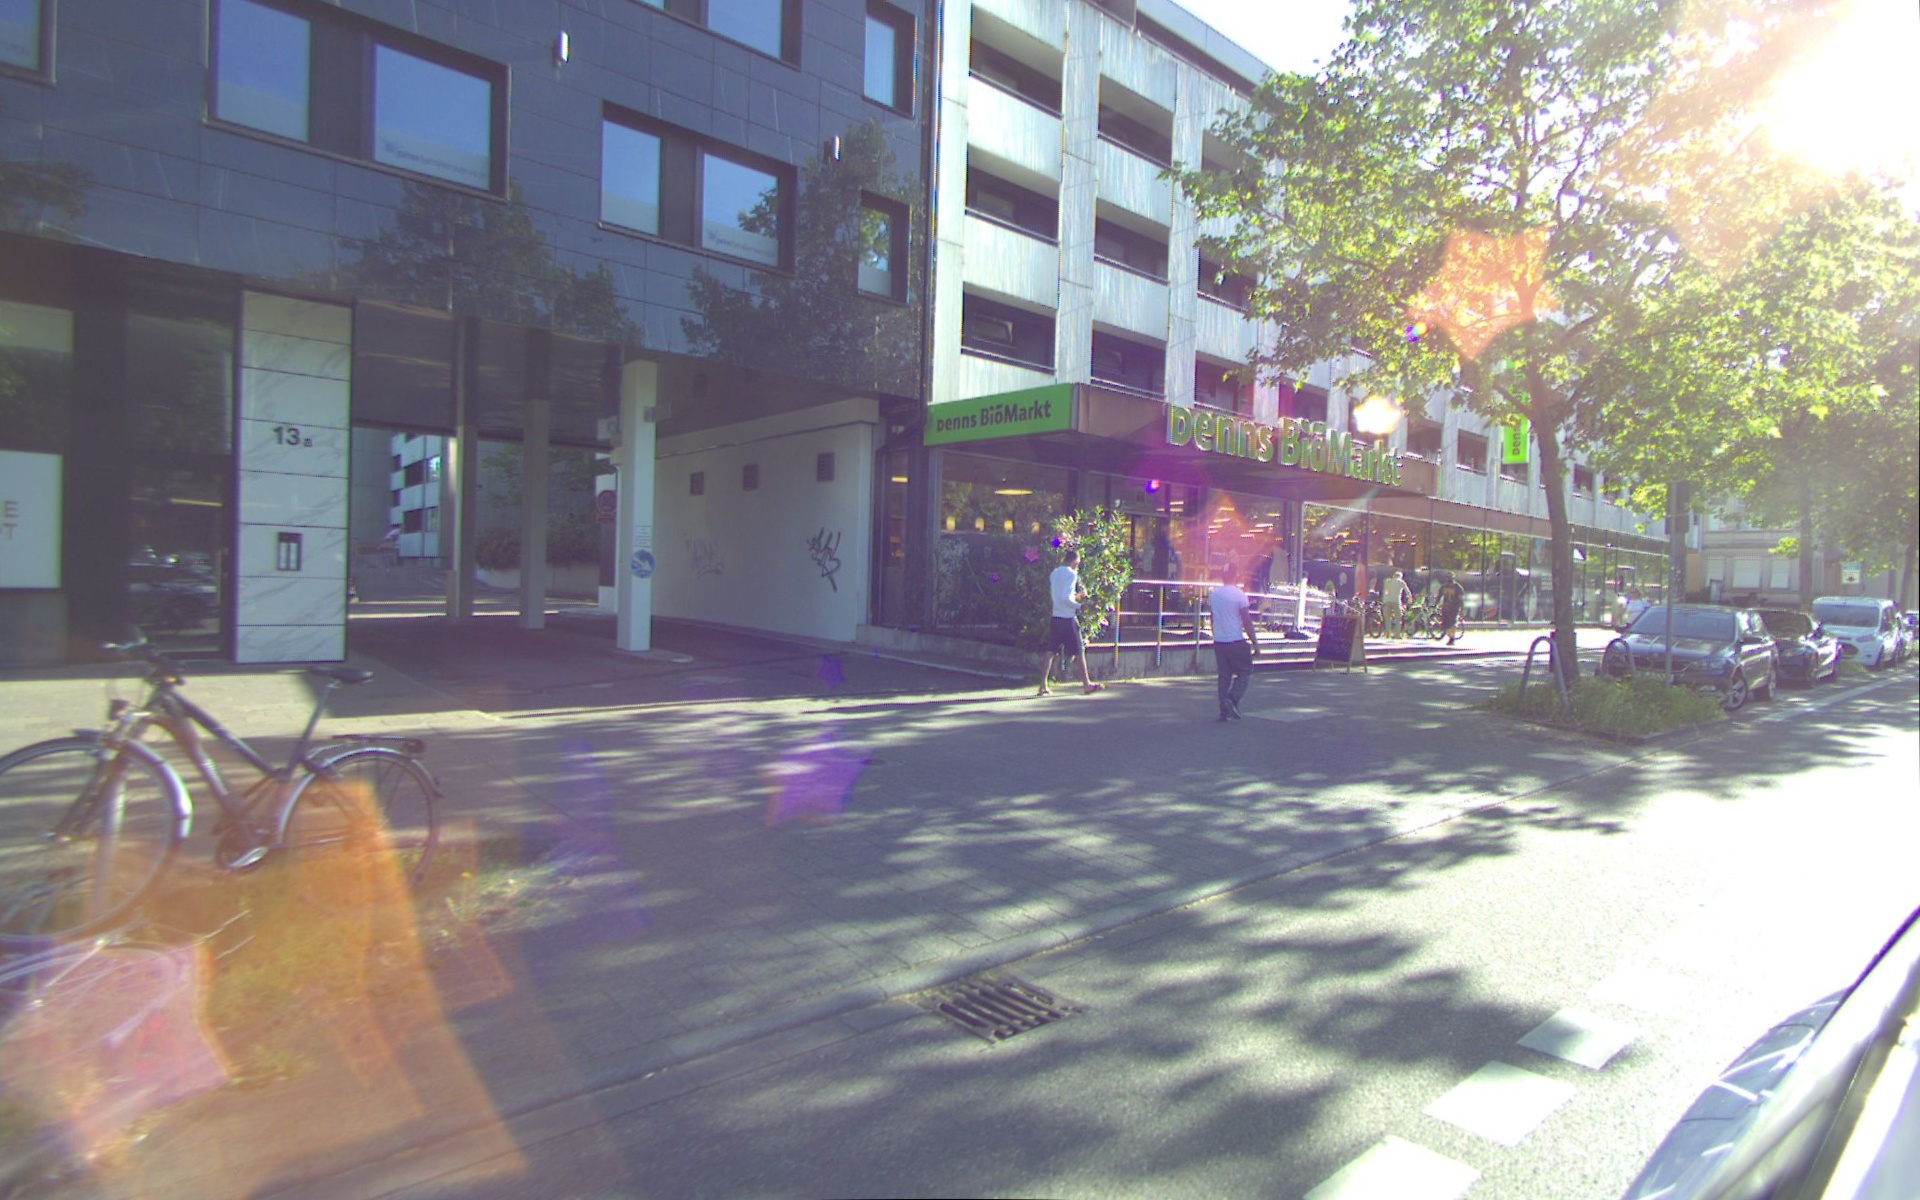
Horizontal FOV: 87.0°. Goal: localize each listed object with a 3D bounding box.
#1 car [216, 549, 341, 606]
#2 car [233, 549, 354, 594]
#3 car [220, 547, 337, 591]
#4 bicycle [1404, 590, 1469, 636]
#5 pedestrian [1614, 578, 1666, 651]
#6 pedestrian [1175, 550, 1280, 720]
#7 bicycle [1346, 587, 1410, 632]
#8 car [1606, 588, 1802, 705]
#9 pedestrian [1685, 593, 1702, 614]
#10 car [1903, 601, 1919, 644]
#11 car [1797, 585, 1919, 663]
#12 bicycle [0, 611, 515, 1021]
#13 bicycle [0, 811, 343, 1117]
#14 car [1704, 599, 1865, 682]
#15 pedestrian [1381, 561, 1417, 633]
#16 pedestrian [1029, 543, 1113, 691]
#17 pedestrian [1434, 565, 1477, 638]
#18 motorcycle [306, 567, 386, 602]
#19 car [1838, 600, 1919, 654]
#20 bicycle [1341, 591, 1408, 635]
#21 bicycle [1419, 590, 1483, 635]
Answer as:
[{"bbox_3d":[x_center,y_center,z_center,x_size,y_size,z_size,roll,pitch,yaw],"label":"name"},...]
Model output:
[{"bbox_3d":[-21.344,-0.738,31.663,3.973,1.638,1.920,3,2,34],"label":"car"},{"bbox_3d":[-24.415,-1.035,37.119,3.550,1.562,1.552,0,2,-41],"label":"car"},{"bbox_3d":[-26.031,-1.157,38.688,3.550,1.562,1.552,1,1,-41],"label":"car"},{"bbox_3d":[12.794,0.335,27.216,0.573,1.068,1.709,3,2,-14],"label":"bicycle"},{"bbox_3d":[15.979,0.332,23.784,0.852,1.632,0.700,1,3,-39],"label":"pedestrian"},{"bbox_3d":[2.882,0.349,10.875,1.033,1.725,0.561,1,2,-41],"label":"pedestrian"},{"bbox_3d":[11.016,0.233,26.725,0.573,1.068,1.709,5,2,-14],"label":"bicycle"},{"bbox_3d":[11.568,0.630,15.651,3.929,1.570,1.568,0,1,-40],"label":"car"},{"bbox_3d":[40.673,0.199,56.121,0.672,1.123,0.560,1,2,-40],"label":"pedestrian"},{"bbox_3d":[35.219,0.837,36.276,3.627,1.455,1.676,-1,4,-42],"label":"car"},{"bbox_3d":[23.400,0.576,26.298,4.315,1.814,1.768,1,2,-41],"label":"car"},{"bbox_3d":[-2.723,0.646,3.742,0.786,1.147,1.822,2,2,36],"label":"bicycle"},{"bbox_3d":[-2.893,1.100,3.219,1.364,0.357,1.612,0,2,-40],"label":"bicycle"},{"bbox_3d":[16.440,0.726,20.085,4.619,1.436,1.764,0,1,-42],"label":"car"},{"bbox_3d":[11.025,-0.086,25.412,0.607,1.735,0.608,8,5,25],"label":"pedestrian"},{"bbox_3d":[1.376,0.194,12.543,0.863,1.766,0.561,1,2,-41],"label":"pedestrian"},{"bbox_3d":[11.900,0.028,24.305,0.867,1.698,0.559,0,3,-41],"label":"pedestrian"},{"bbox_3d":[-20.747,-0.530,34.180,2.511,1.079,1.086,2,1,24],"label":"motorcycle"},{"bbox_3d":[27.911,0.771,30.392,4.220,1.420,1.732,0,3,-42],"label":"car"},{"bbox_3d":[10.061,0.303,24.643,0.573,0.927,1.656,5,2,-14],"label":"bicycle"},{"bbox_3d":[13.494,0.328,27.858,0.573,1.068,1.709,3,3,-14],"label":"bicycle"}]
